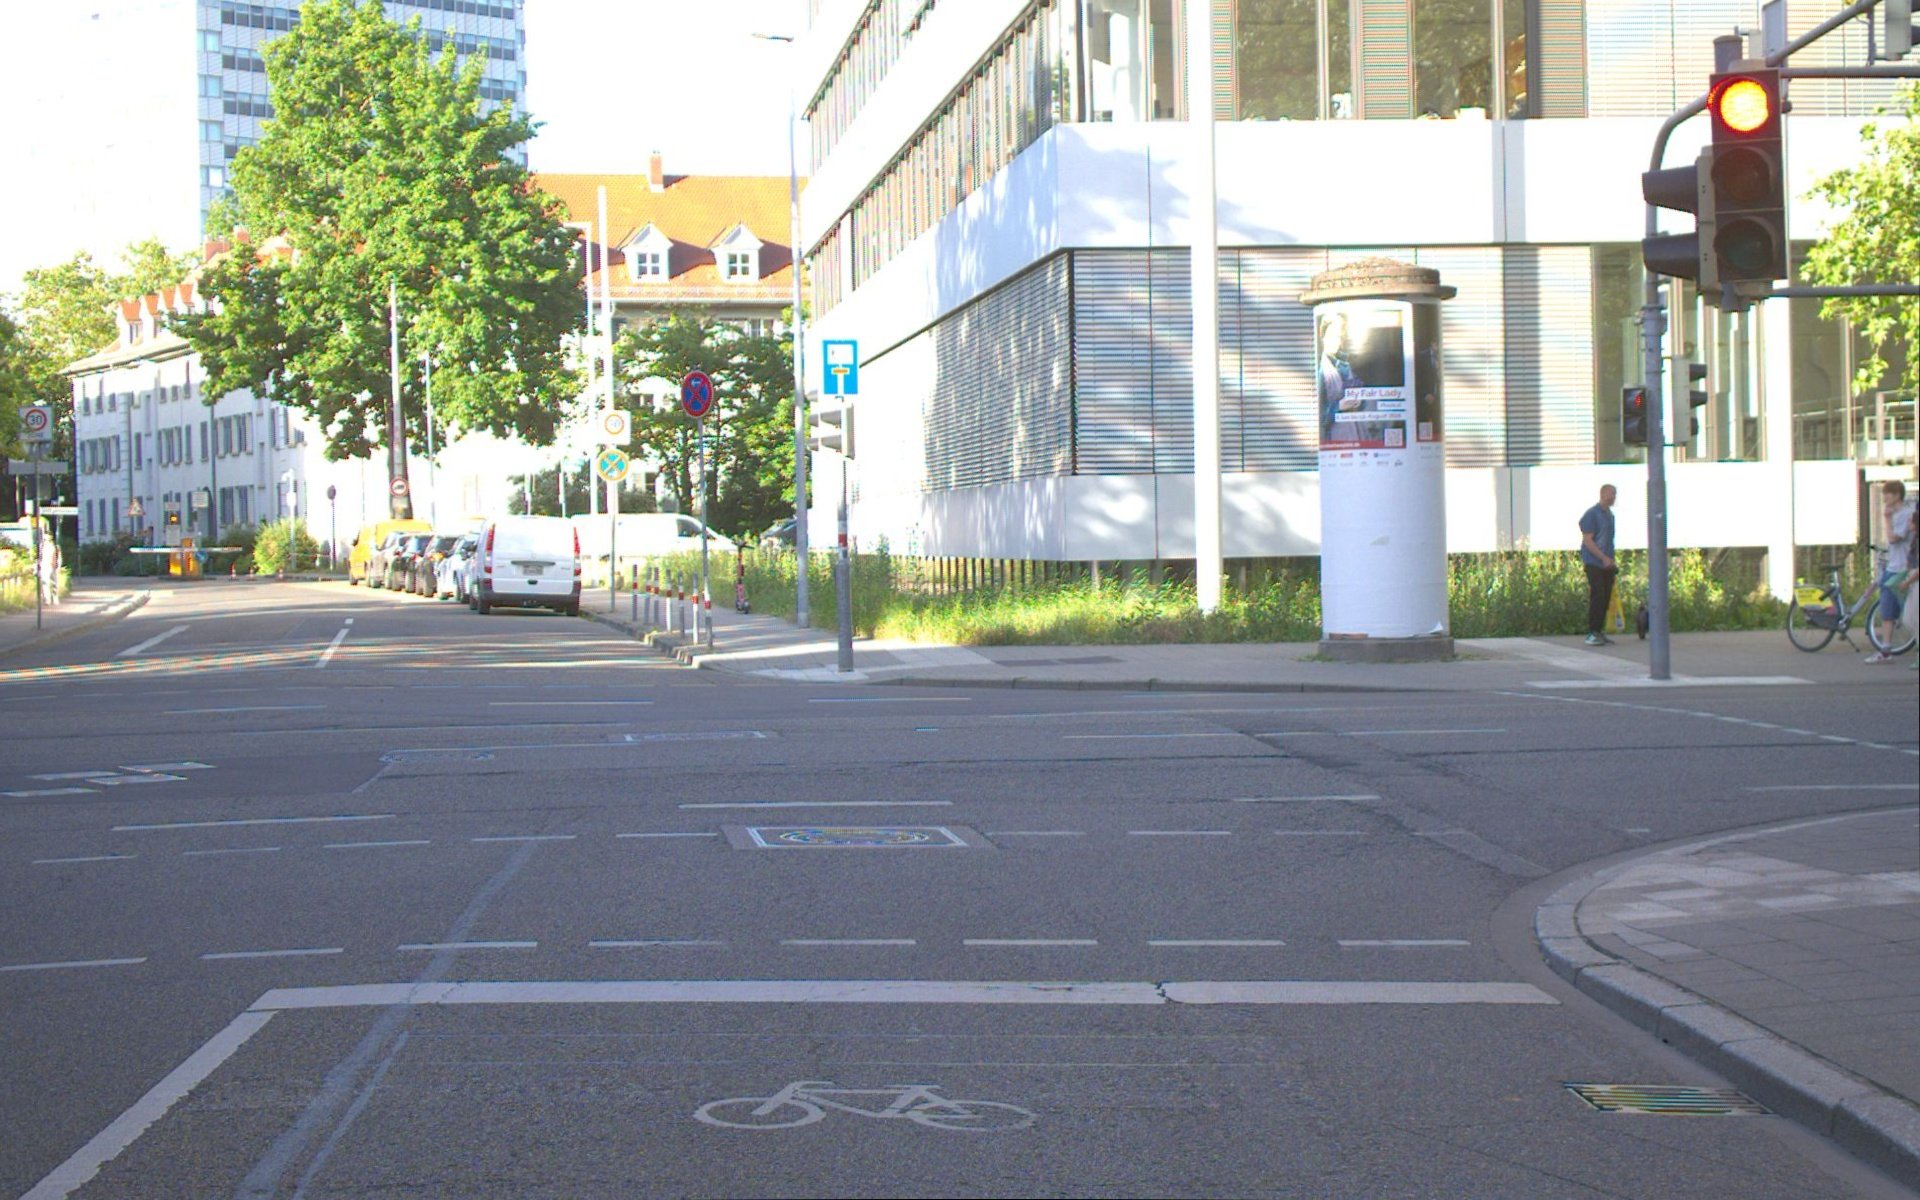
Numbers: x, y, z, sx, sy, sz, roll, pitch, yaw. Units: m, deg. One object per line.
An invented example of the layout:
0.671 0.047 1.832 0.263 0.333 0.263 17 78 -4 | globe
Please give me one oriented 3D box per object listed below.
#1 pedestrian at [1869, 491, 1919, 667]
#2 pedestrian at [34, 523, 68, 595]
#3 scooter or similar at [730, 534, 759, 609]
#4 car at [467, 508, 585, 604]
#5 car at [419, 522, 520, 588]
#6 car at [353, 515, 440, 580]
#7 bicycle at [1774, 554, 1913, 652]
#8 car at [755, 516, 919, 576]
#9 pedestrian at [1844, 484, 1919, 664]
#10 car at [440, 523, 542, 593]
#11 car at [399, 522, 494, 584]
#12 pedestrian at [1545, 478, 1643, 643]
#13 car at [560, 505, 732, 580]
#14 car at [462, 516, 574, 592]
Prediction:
9.461 -0.206 34.011 0.765 1.713 0.648 1 0 2 | pedestrian
-20.320 -0.913 76.846 0.699 1.581 0.637 1 0 -16 | pedestrian
-3.657 -0.494 58.302 0.437 1.252 1.420 -1 1 -4 | scooter or similar
-8.217 -0.820 64.833 1.993 1.719 4.653 1 1 -10 | car
-11.623 -1.067 81.266 1.993 1.493 4.288 1 1 -13 | car
-15.734 -1.460 95.846 1.993 1.719 4.653 1 1 -14 | car
9.285 0.021 36.158 0.378 1.005 1.432 -2 2 -42 | bicycle
-3.750 -1.640 104.785 4.635 1.719 2.001 1 0 -16 | car
9.404 -0.264 34.758 0.765 1.789 0.648 1 0 3 | pedestrian
-10.501 -0.941 76.819 1.993 1.493 4.653 1 1 -11 | car
-12.876 -1.172 85.990 1.993 1.493 4.653 1 1 -13 | car
7.062 -0.445 38.273 0.915 1.809 0.761 1 0 22 | pedestrian
-9.398 -1.712 102.942 4.791 2.151 2.001 1 0 -17 | car
-9.168 -0.939 71.047 1.993 1.493 4.653 1 1 -11 | car
